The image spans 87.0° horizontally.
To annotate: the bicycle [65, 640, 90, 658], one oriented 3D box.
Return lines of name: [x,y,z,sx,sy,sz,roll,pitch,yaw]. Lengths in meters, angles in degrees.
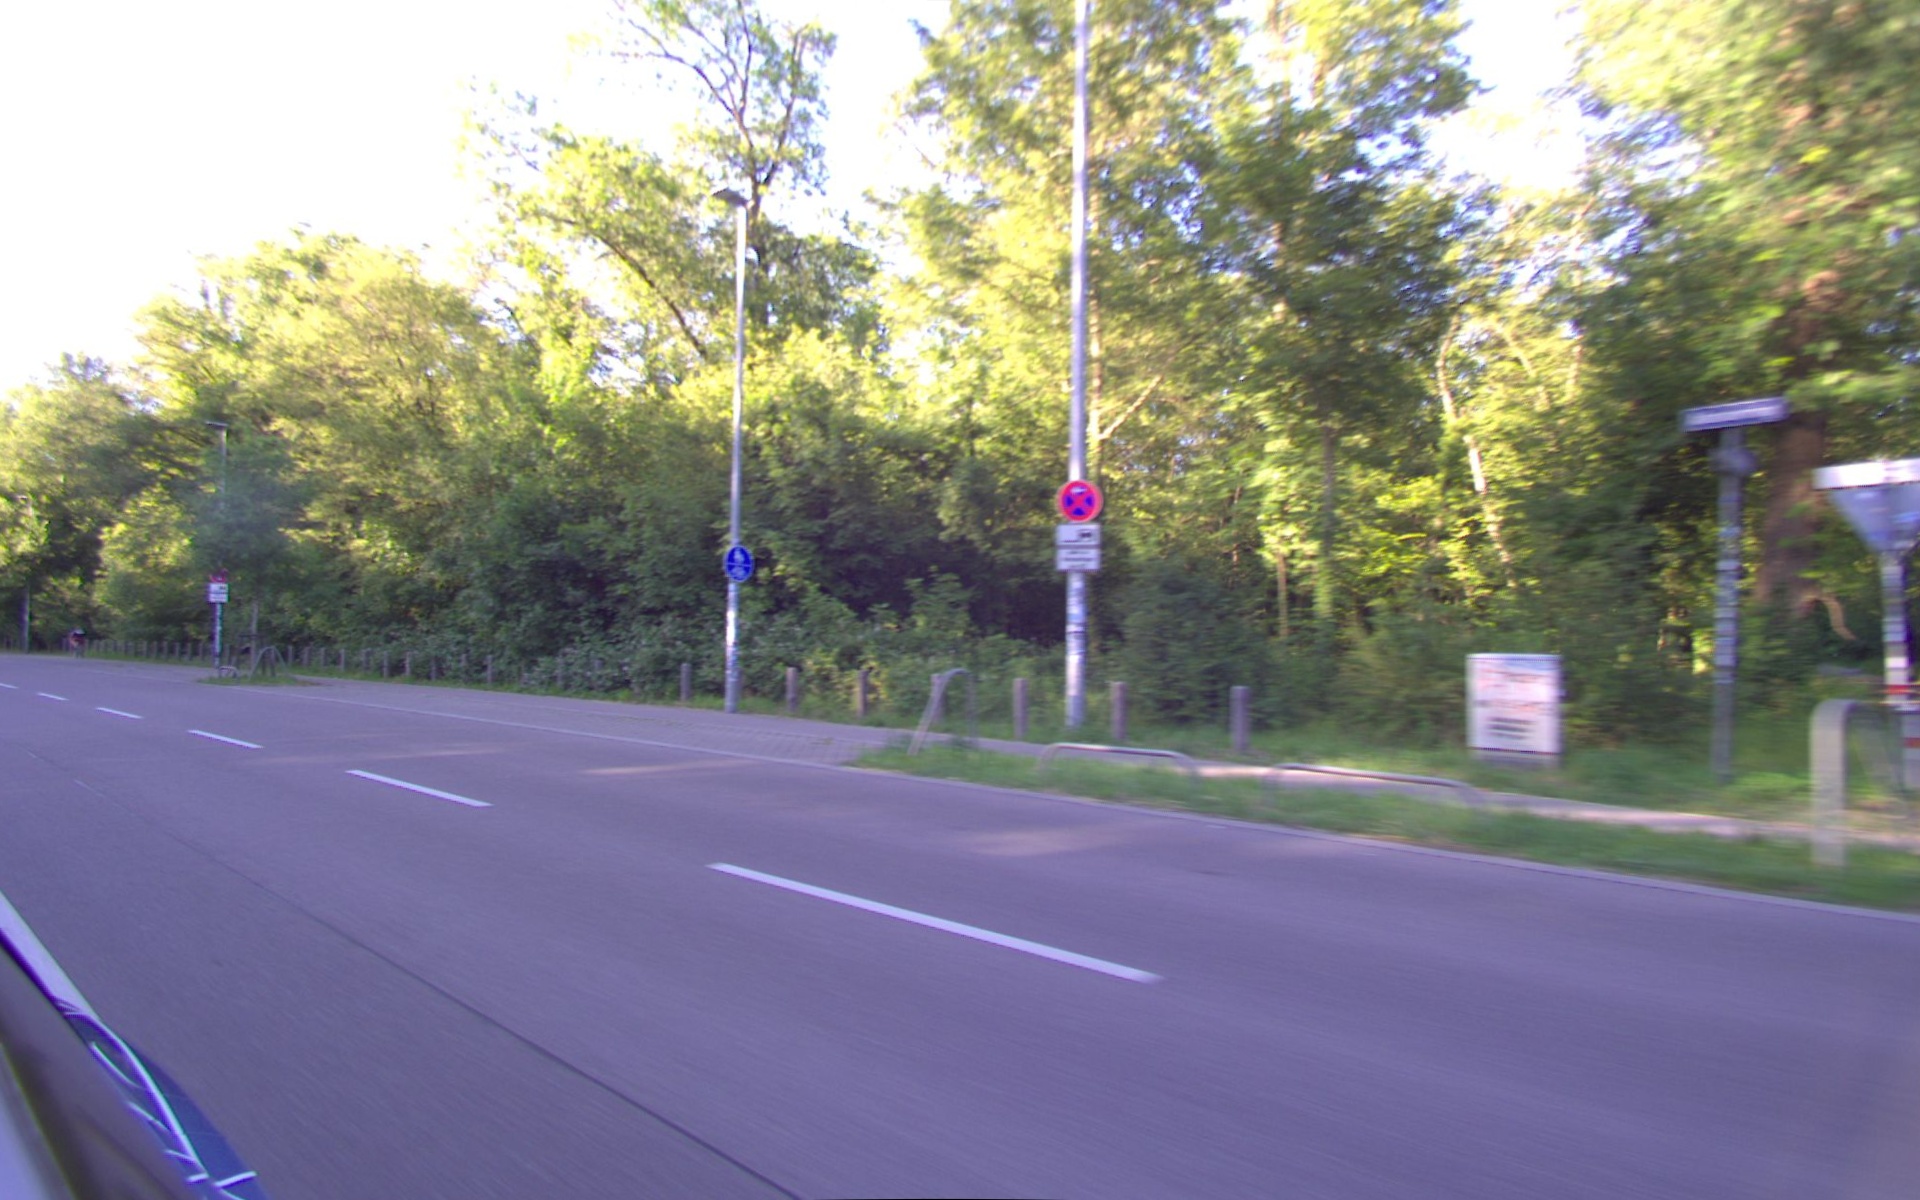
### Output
bicycle: [-41.027,2.269,47.042,1.806,0.820,0.490,-2,-5,39]

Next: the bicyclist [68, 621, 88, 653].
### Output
bicyclist: [-41.042,1.728,47.099,0.760,1.495,0.494,-1,-4,39]
